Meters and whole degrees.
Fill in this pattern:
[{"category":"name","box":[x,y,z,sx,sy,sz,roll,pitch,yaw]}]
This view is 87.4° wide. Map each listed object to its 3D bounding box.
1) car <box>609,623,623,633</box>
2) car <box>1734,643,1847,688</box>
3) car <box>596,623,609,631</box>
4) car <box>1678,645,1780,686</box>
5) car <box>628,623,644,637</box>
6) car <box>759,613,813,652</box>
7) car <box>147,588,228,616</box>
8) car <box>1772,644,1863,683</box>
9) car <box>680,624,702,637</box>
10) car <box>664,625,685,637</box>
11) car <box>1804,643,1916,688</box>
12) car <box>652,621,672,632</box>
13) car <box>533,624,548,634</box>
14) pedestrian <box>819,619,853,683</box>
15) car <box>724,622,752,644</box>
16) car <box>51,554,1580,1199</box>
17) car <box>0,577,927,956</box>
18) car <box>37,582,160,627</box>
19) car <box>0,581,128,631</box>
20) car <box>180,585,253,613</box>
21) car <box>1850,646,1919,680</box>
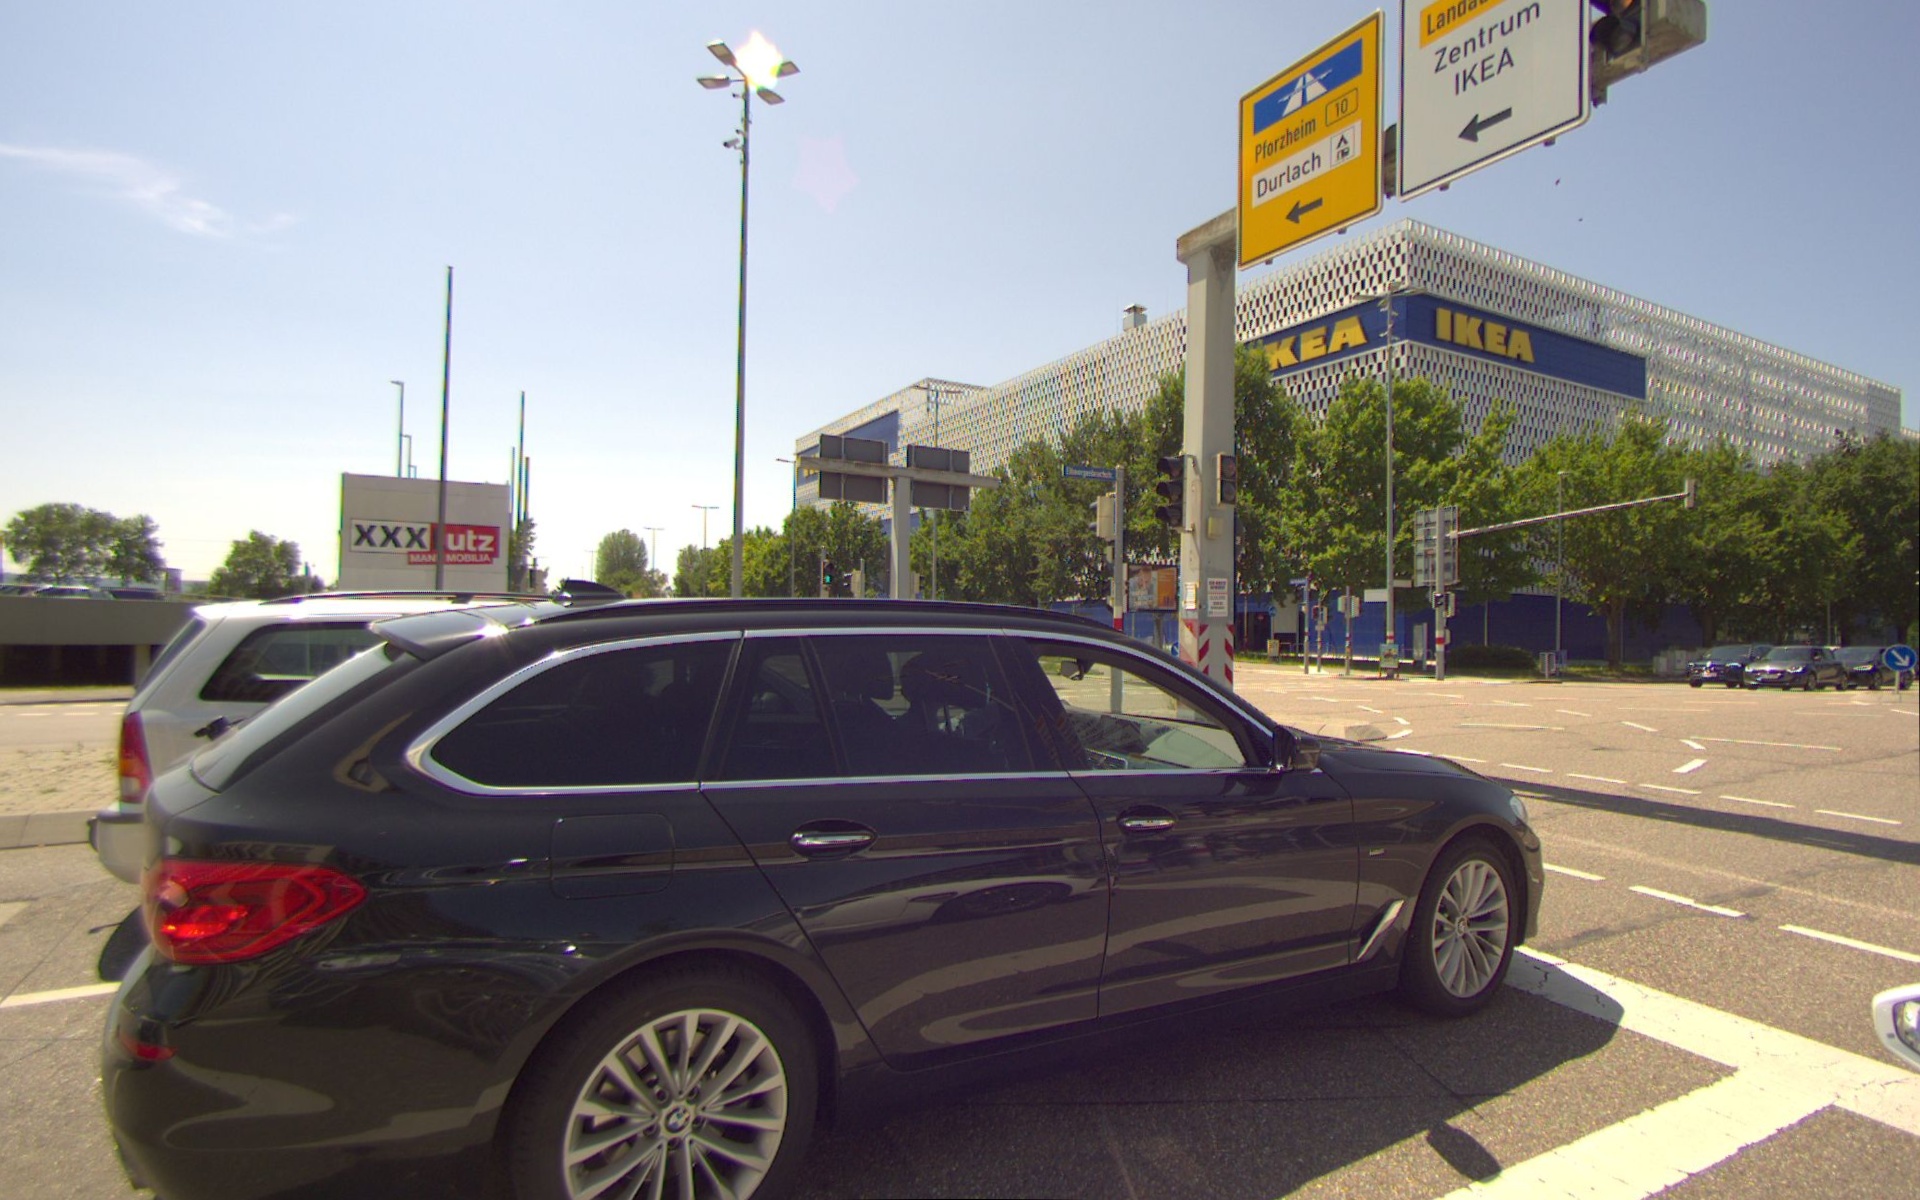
[{"category":"car","box":[-55.426,4.545,161.864,1.608,1.629,3.471,2,-2,-29]},{"category":"car","box":[27.144,2.161,32.832,3.671,1.407,1.637,3,-4,-30]},{"category":"car","box":[-60.624,4.547,170.347,1.608,1.368,3.472,2,-2,-29]},{"category":"car","box":[28.704,2.445,37.471,3.992,1.442,1.653,3,-3,-31]},{"category":"car","box":[-46.342,4.287,143.610,1.607,1.835,3.474,1,-2,-27]},{"category":"car","box":[-10.310,1.890,59.222,1.973,2.212,5.019,1,-2,-25]},{"category":"car","box":[-52.651,0.146,68.549,4.086,1.764,1.770,2,-2,-30]},{"category":"car","box":[35.643,2.644,41.737,3.870,1.564,1.718,3,-3,-31]},{"category":"car","box":[-38.166,4.297,142.371,2.031,1.769,3.860,2,-2,-29]},{"category":"car","box":[-38.964,4.252,136.879,1.975,1.572,3.972,2,-2,-27]},{"category":"car","box":[32.403,2.367,36.146,4.193,1.524,1.719,3,-4,-30]},{"category":"car","box":[-42.851,3.814,144.446,1.976,1.572,3.970,2,-2,-29]},{"category":"car","box":[-65.943,4.533,157.969,1.836,1.528,3.971,2,-2,-28]},{"category":"pedestrian","box":[-3.607,1.476,29.201,0.816,1.807,0.601,2,-2,-27]},{"category":"car","box":[-20.730,3.081,93.643,1.750,2.040,3.813,1,-2,-26]},{"category":"car","box":[0.051,0.727,3.523,4.505,1.459,1.788,2,-1,-31]},{"category":"car","box":[-2.324,0.660,5.500,3.959,1.441,1.685,1,0,-29]},{"category":"car","box":[-42.091,0.267,49.213,4.285,2.040,1.981,2,-2,-34]},{"category":"car","box":[-39.641,0.290,44.261,4.284,2.040,1.982,2,-2,-34]},{"category":"car","box":[-58.102,-0.065,78.583,4.278,2.040,1.985,2,-2,-30]},{"category":"car","box":[42.502,2.874,45.893,3.870,1.505,1.642,3,-3,-31]}]
